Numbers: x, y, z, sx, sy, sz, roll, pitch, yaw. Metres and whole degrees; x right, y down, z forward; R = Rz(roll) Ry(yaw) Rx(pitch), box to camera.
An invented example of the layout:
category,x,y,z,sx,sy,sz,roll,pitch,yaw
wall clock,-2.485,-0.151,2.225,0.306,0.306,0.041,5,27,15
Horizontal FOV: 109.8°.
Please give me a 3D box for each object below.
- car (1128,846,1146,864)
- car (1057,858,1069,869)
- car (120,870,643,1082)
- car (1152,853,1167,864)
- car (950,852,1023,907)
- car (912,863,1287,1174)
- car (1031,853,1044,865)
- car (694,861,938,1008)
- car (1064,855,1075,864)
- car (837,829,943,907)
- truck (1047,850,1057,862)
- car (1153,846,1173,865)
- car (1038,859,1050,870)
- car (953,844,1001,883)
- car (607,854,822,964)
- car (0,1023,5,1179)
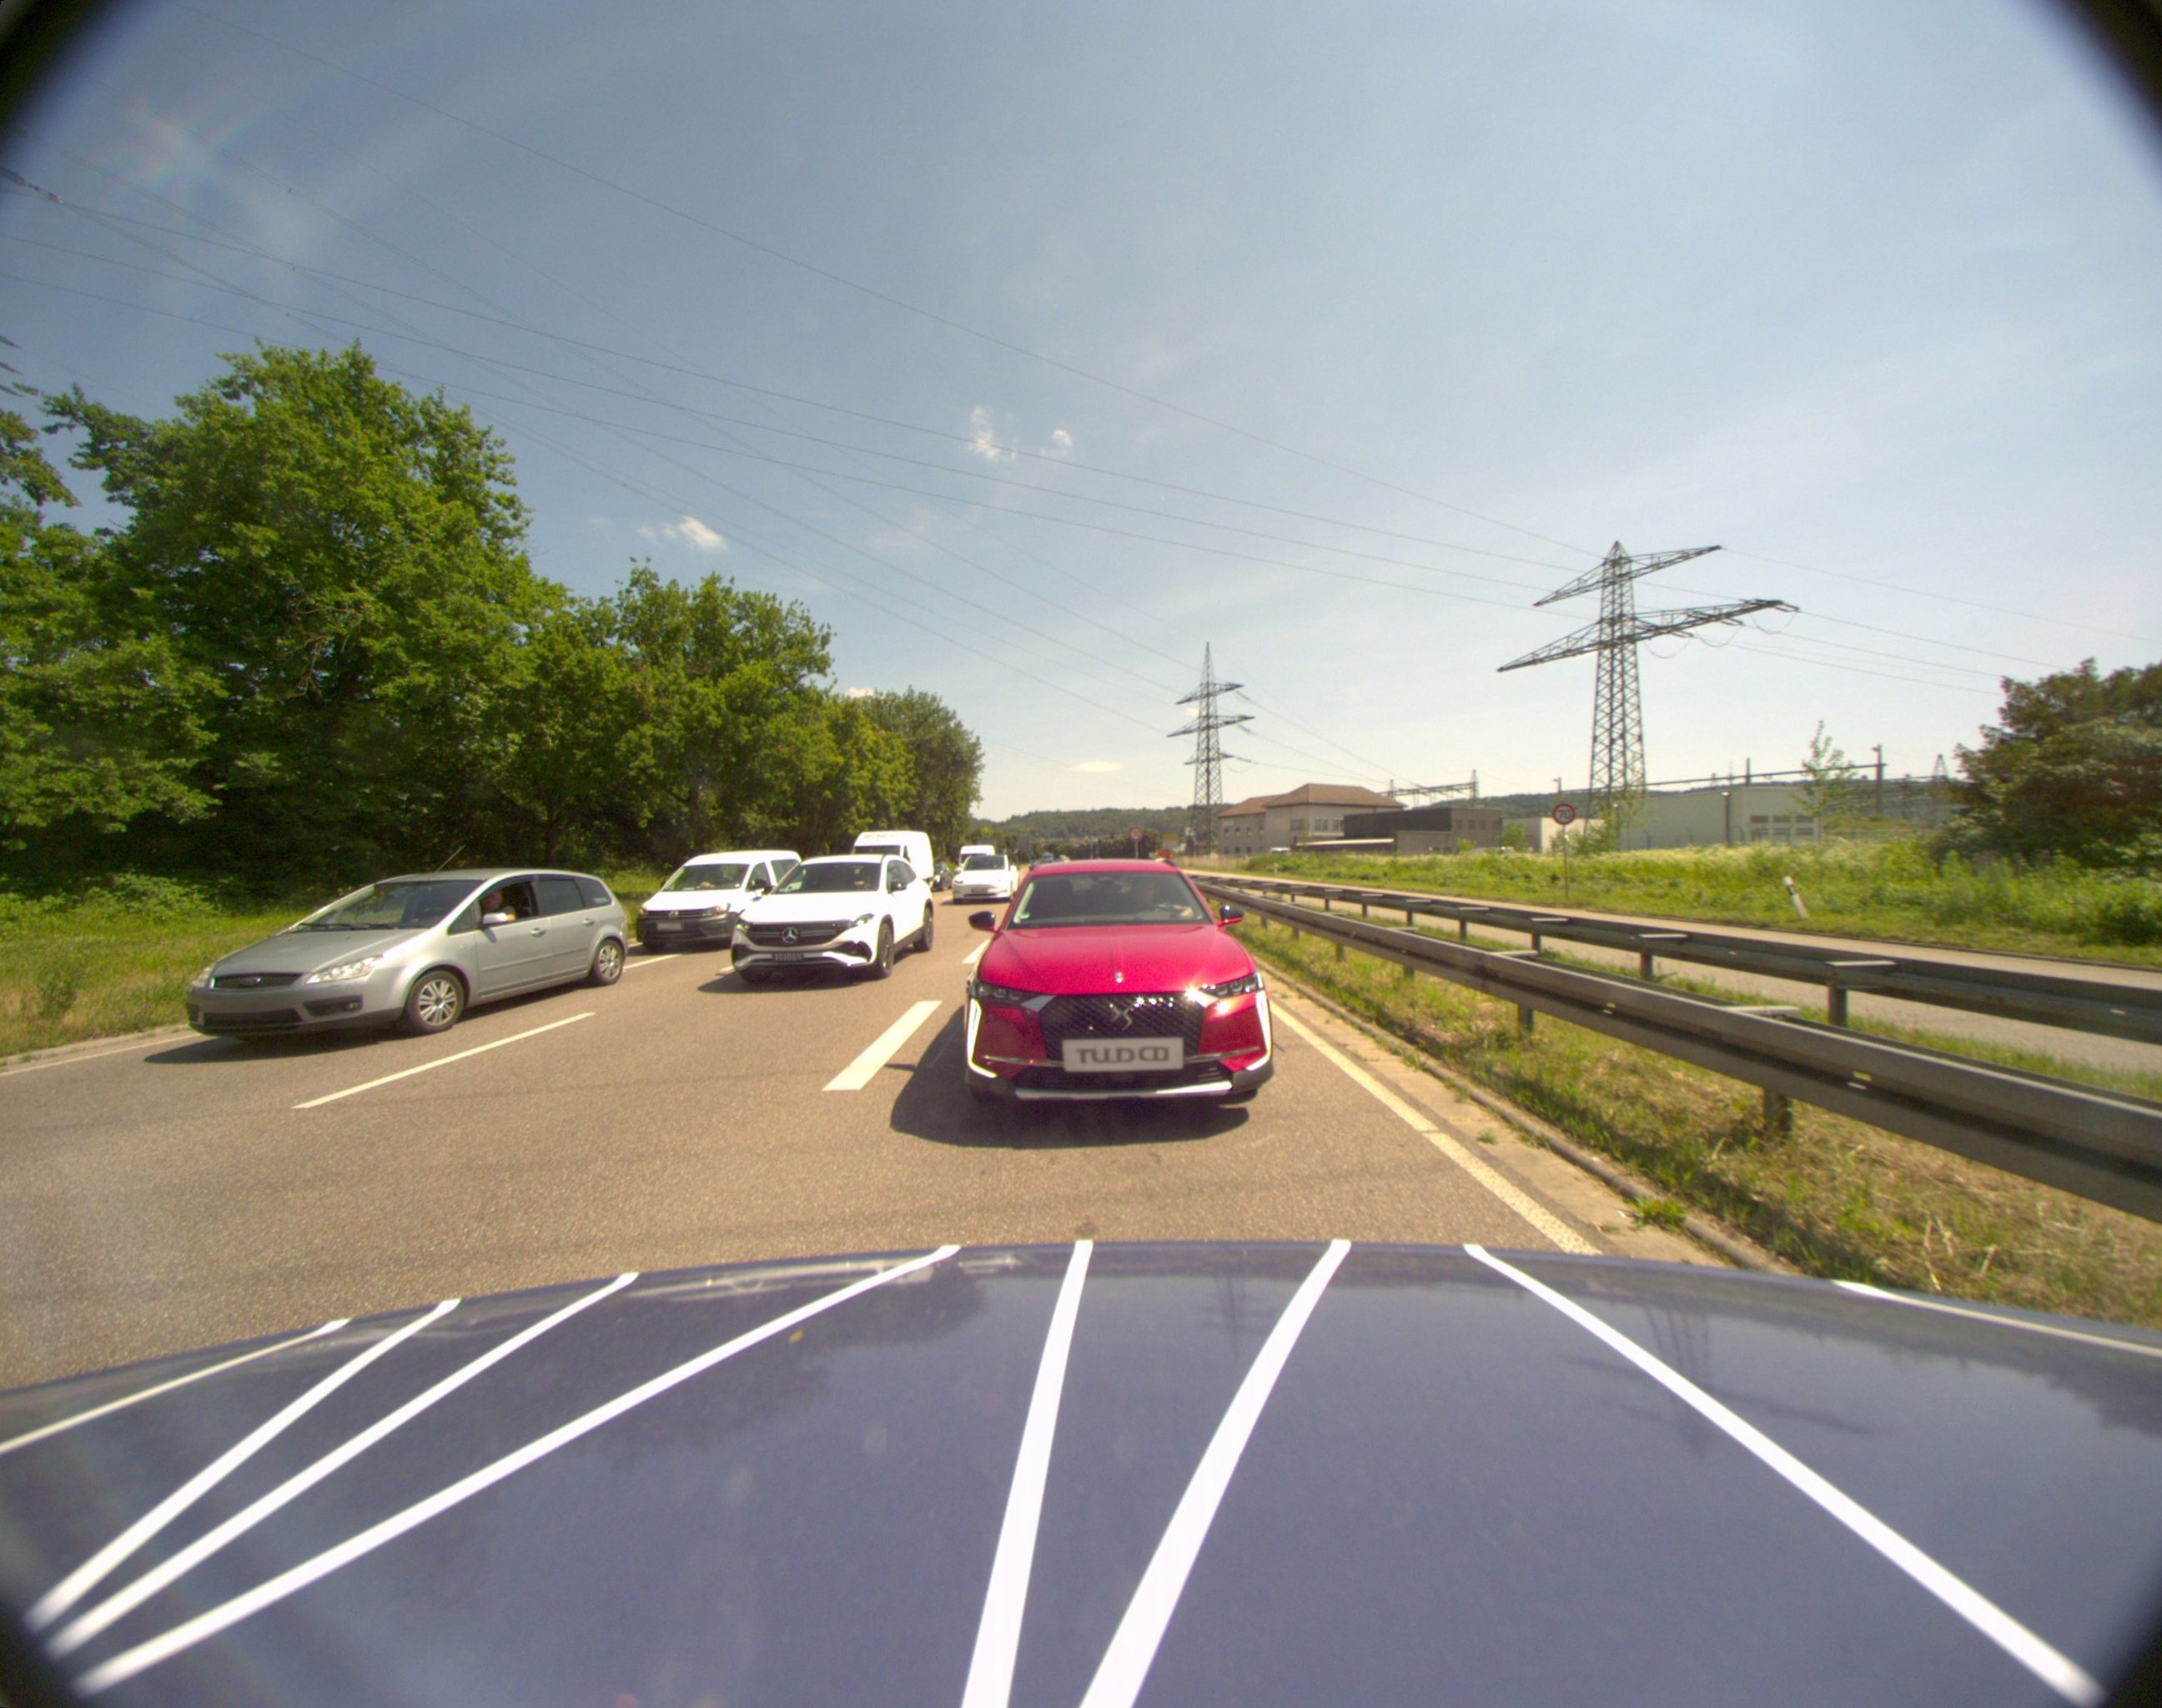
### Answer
category,x,y,z,sx,sy,sz,roll,pitch,yaw
car,9.536,0.211,130.129,2.607,3.043,5.638,0,0,0
car,-2.952,1.539,126.827,1.878,1.674,3.998,-2,1,-2
car,-6.993,1.052,8.397,1.747,1.585,4.272,-2,0,1
car,14.054,0.762,136.006,1.999,1.904,3.998,-2,1,-4
car,-3.162,0.804,26.201,2.022,1.672,3.999,-2,0,-1
car,0.115,0.862,6.051,1.846,1.453,4.414,-2,0,1
car,-6.850,0.797,119.642,1.878,1.674,3.998,-2,1,-2
car,-3.417,0.931,10.797,1.850,1.559,4.363,-2,0,1
car,-2.129,1.001,145.383,1.998,1.752,4.000,0,0,2
car,-7.133,0.462,29.412,2.232,2.592,7.018,-2,0,0
truck,-6.339,0.377,165.577,2.170,2.428,4.909,-2,1,-2
car,13.563,0.234,125.942,2.607,3.043,5.638,0,0,0
car,-6.740,1.903,139.660,1.998,1.808,3.999,-2,1,1
car,-6.993,0.583,51.984,2.308,2.408,5.814,-2,0,1
car,-7.021,0.921,15.298,1.809,1.790,5.037,-2,0,0
car,-7.124,1.093,2.295,1.769,1.586,4.165,-1,0,1
